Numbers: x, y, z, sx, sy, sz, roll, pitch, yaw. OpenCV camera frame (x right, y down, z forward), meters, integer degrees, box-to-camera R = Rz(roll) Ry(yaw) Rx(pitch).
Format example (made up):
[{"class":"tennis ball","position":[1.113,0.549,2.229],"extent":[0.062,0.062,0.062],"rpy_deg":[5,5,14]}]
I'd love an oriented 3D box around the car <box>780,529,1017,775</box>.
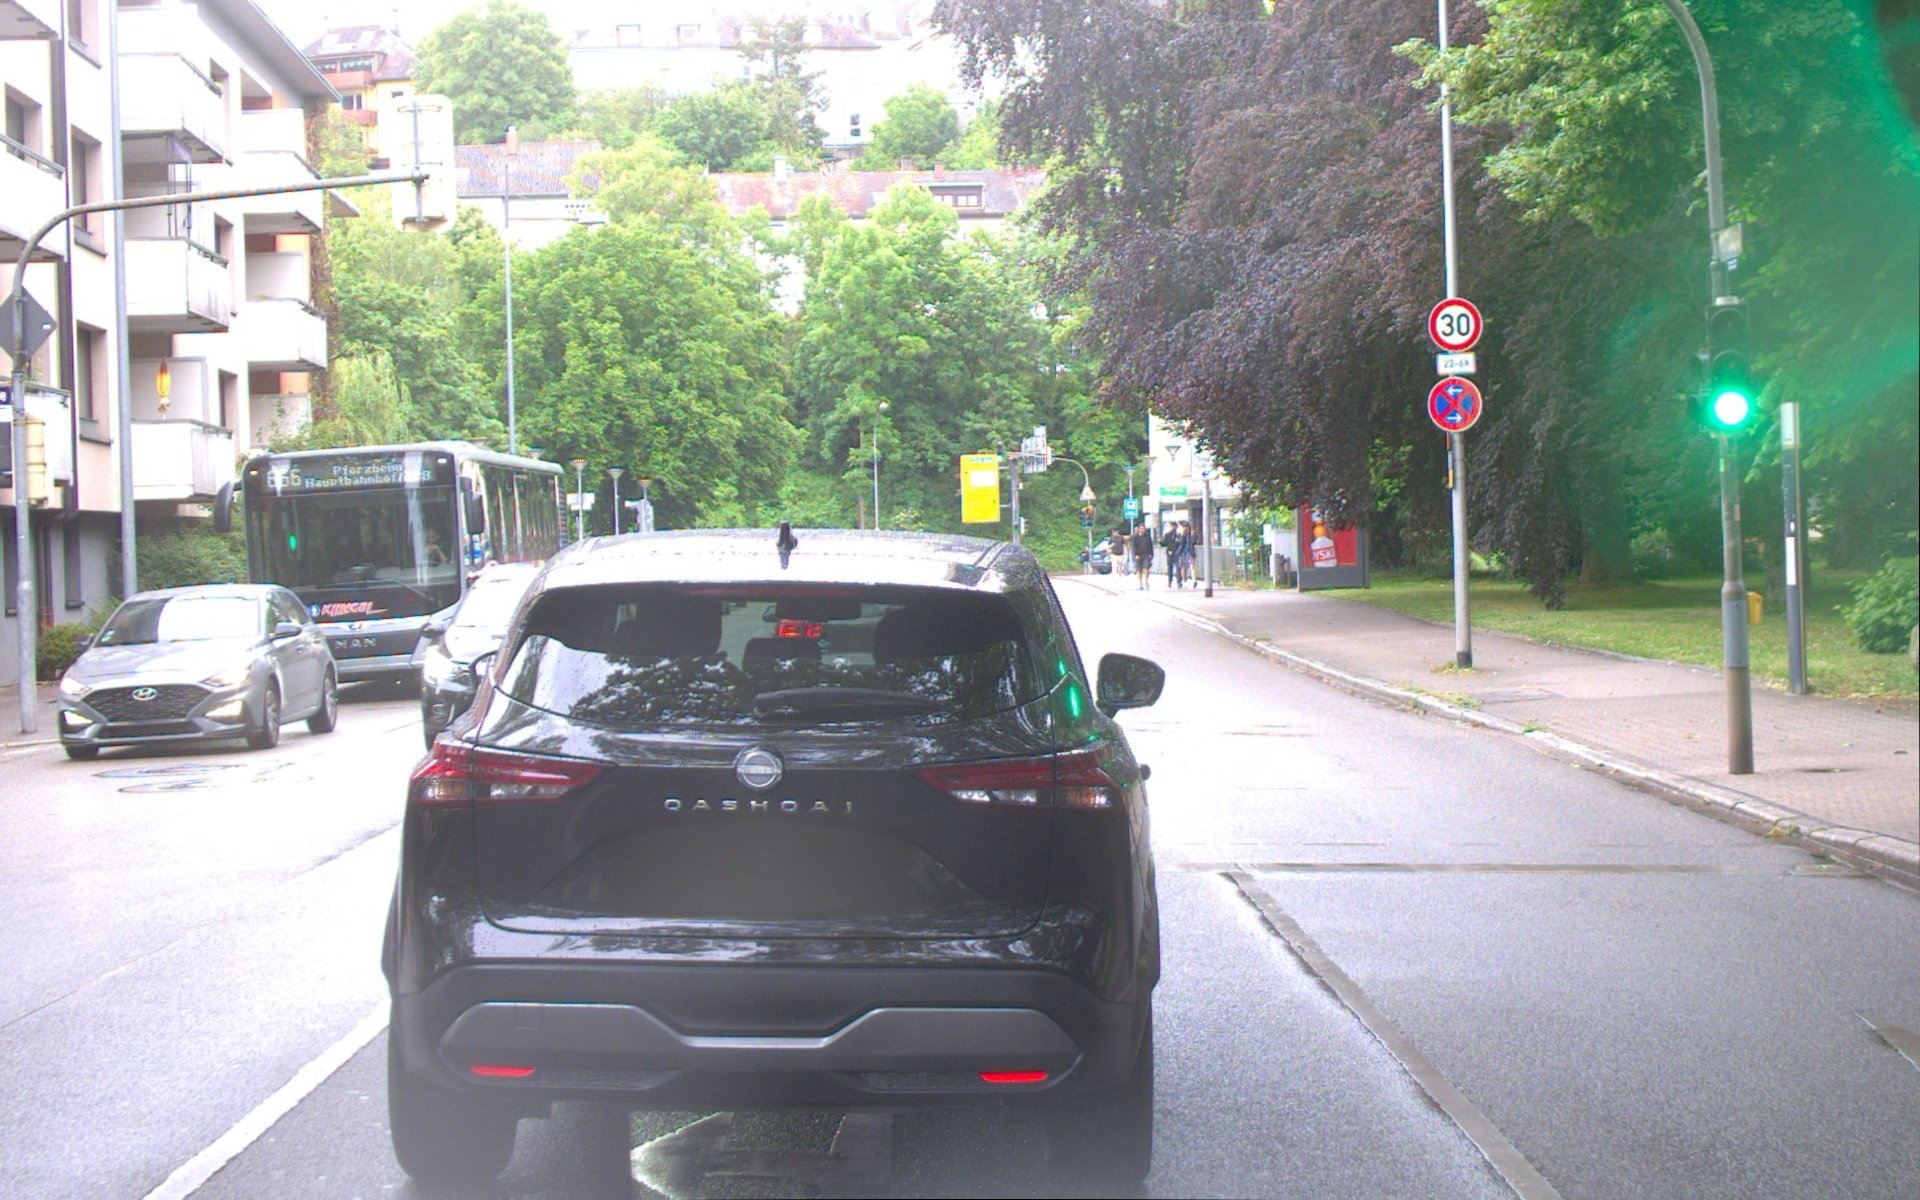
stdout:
[{"class":"car","position":[-0.410,0.341,26.538],"extent":[1.622,1.703,3.771],"rpy_deg":[-2,1,1]}]

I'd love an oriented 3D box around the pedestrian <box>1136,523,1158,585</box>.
[{"class":"pedestrian","position":[5.024,-1.237,92.403],"extent":[0.544,1.645,0.490],"rpy_deg":[1,0,0]}]

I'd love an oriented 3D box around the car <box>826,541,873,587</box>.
[{"class":"car","position":[-4.475,-1.478,139.494],"extent":[1.763,1.752,3.635],"rpy_deg":[-2,1,0]}]

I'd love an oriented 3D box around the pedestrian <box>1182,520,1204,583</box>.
[{"class":"pedestrian","position":[6.140,-1.283,90.529],"extent":[0.514,1.650,0.550],"rpy_deg":[1,0,-1]}]

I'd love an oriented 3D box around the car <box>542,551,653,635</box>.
[{"class":"car","position":[-7.010,-0.162,66.805],"extent":[1.747,1.464,4.217],"rpy_deg":[-3,1,-2]}]

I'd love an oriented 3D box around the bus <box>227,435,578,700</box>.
[{"class":"bus","position":[-7.063,-0.436,45.390],"extent":[2.766,2.964,11.782],"rpy_deg":[-2,1,-1]}]

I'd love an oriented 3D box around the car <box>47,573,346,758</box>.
[{"class":"car","position":[-6.736,0.530,30.743],"extent":[1.808,1.412,4.031],"rpy_deg":[-3,1,-2]}]

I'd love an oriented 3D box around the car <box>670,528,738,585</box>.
[{"class":"car","position":[-7.705,-1.315,103.706],"extent":[1.750,1.628,3.635],"rpy_deg":[-2,1,0]}]

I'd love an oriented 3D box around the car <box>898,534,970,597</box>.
[{"class":"car","position":[-0.615,-0.829,82.310],"extent":[1.624,1.410,3.455],"rpy_deg":[-2,1,0]}]

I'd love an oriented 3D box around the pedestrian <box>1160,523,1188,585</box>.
[{"class":"pedestrian","position":[5.766,-1.228,92.566],"extent":[0.699,1.645,0.628],"rpy_deg":[1,0,0]}]

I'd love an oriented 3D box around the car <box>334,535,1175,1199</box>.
[{"class":"car","position":[-0.468,0.653,9.453],"extent":[1.806,1.584,4.000],"rpy_deg":[1,0,-1]}]

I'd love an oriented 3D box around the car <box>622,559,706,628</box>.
[{"class":"car","position":[-6.952,-0.174,81.077],"extent":[1.676,1.464,4.217],"rpy_deg":[-3,1,-2]}]

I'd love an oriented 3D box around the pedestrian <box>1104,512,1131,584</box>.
[{"class":"pedestrian","position":[4.736,-1.559,103.326],"extent":[0.768,2.176,0.711],"rpy_deg":[1,0,3]}]

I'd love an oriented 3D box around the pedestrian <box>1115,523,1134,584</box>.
[{"class":"pedestrian","position":[4.408,-1.244,92.261],"extent":[0.475,1.645,0.490],"rpy_deg":[1,0,0]}]

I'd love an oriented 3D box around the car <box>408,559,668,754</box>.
[{"class":"car","position":[-3.359,0.407,27.907],"extent":[1.624,1.410,3.455],"rpy_deg":[-2,1,0]}]

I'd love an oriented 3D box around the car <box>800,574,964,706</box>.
[{"class":"car","position":[-0.921,0.430,40.089],"extent":[1.808,1.412,4.031],"rpy_deg":[0,1,-2]}]

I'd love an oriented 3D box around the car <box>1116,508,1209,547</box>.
[{"class":"car","position":[9.625,-3.425,163.405],"extent":[3.986,1.678,2.001],"rpy_deg":[-2,1,-10]}]

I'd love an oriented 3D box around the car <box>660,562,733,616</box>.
[{"class":"car","position":[-6.981,-0.315,91.367],"extent":[1.676,1.291,3.752],"rpy_deg":[-3,1,-2]}]
